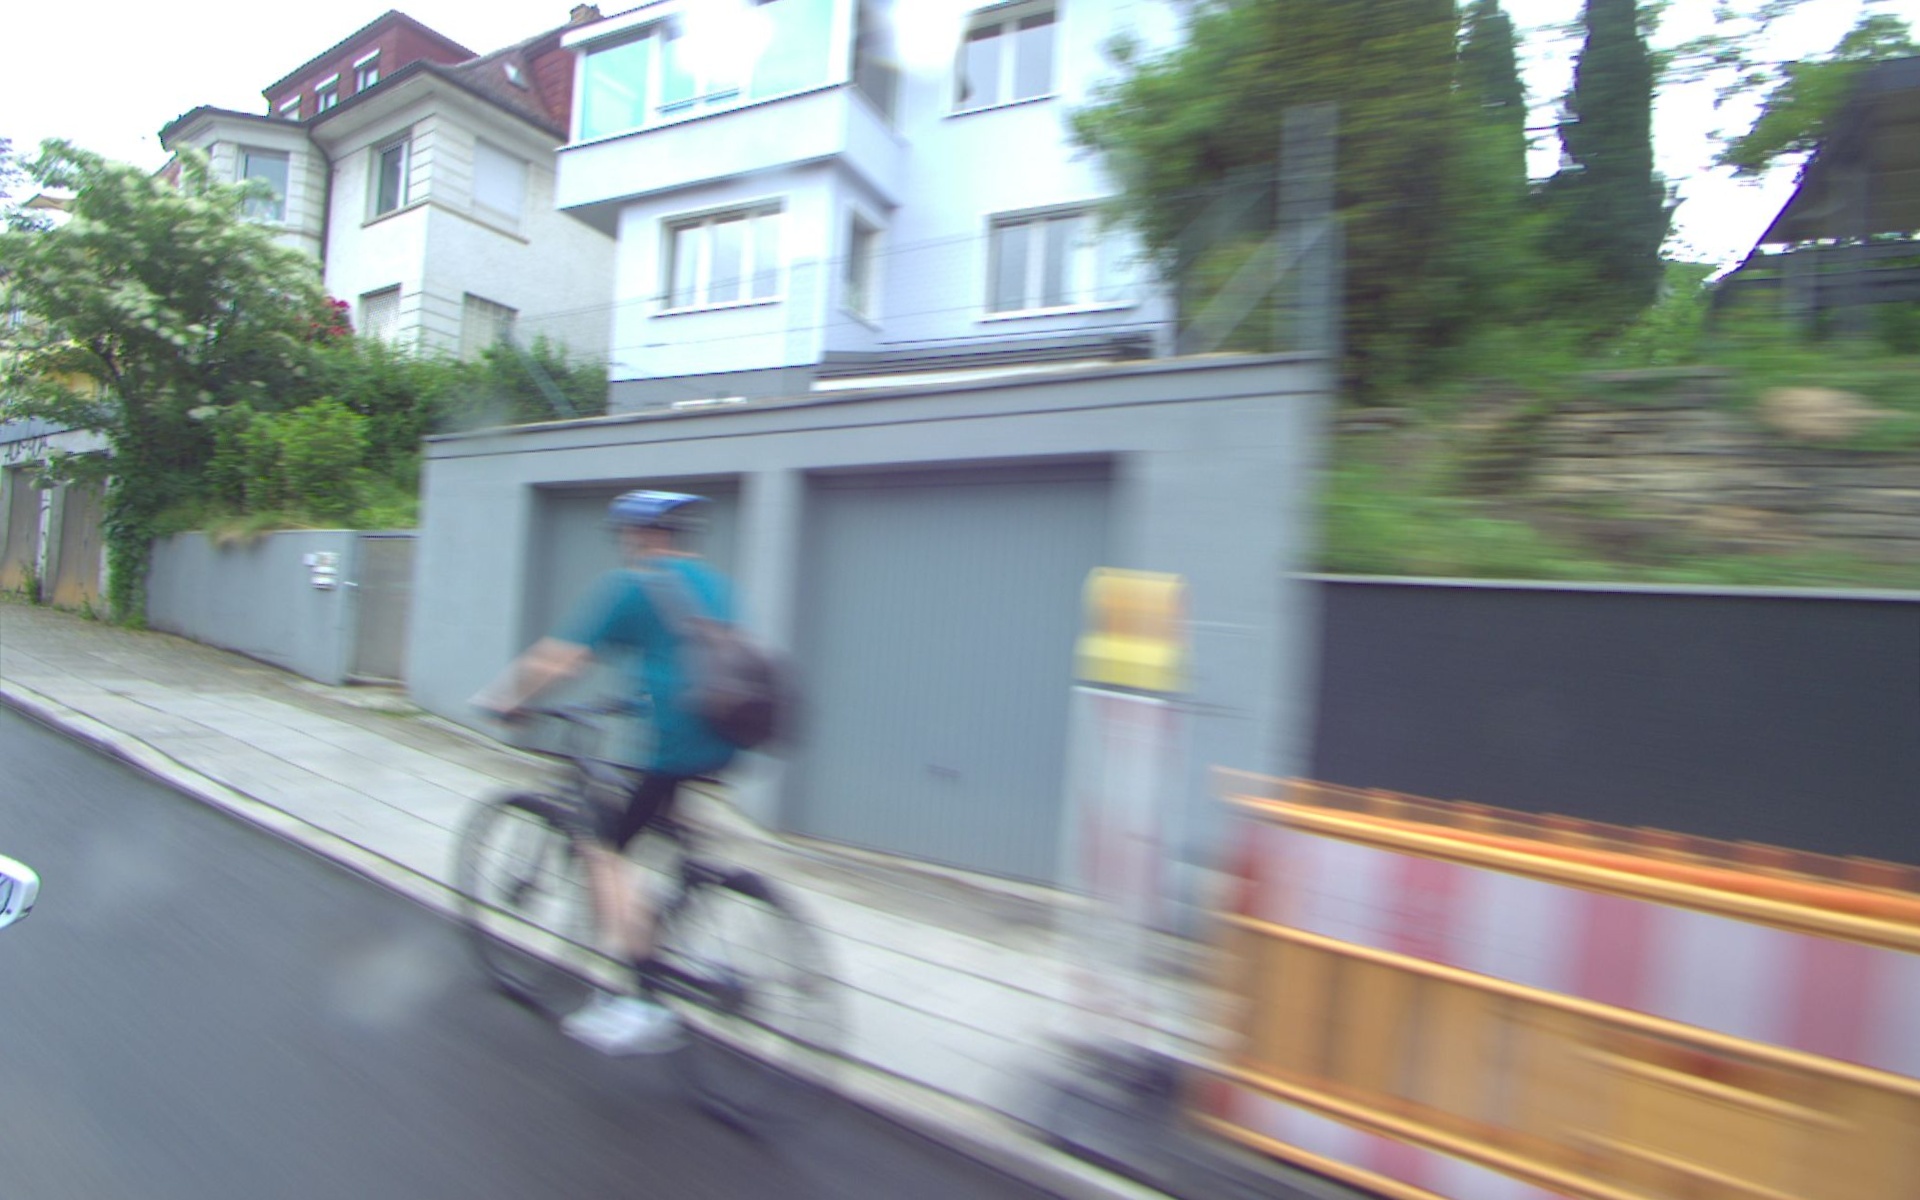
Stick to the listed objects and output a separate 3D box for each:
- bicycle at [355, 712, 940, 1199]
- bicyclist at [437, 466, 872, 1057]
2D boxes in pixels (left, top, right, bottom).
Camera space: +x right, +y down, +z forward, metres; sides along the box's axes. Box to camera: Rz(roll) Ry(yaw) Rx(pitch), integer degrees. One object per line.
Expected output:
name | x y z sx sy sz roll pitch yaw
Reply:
bicycle | -0.999 0.961 3.094 1.643 0.976 0.731 7 -2 33
bicyclist | -0.923 0.412 3.094 0.872 1.489 0.726 7 -1 32
